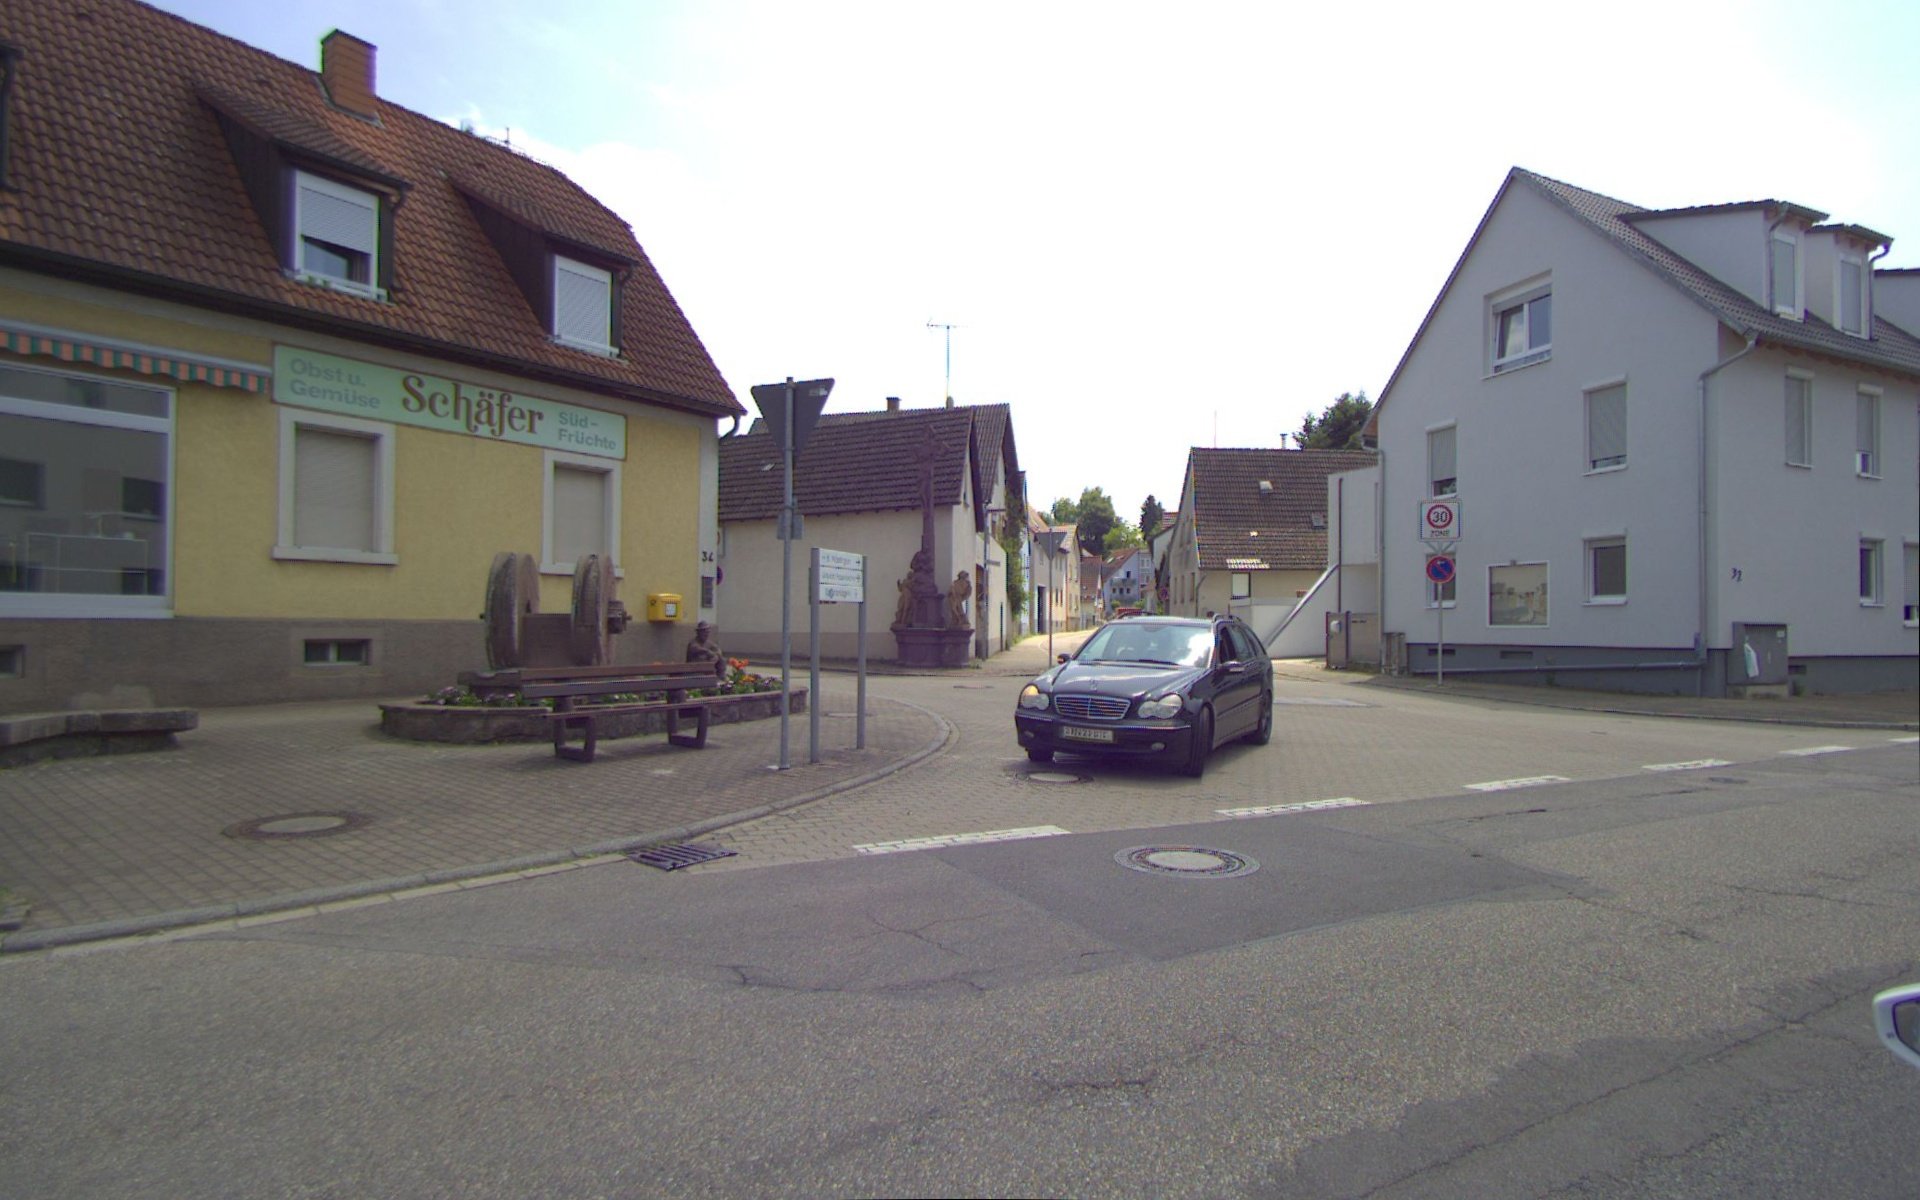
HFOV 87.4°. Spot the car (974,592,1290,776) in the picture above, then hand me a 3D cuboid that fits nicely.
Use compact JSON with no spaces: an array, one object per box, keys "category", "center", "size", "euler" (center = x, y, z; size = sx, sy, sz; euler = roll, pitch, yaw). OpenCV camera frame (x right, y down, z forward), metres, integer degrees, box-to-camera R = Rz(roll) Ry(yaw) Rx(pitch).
[{"category":"car","center":[2.040,0.769,10.444],"size":[1.781,1.430,4.630],"euler":[1,-2,29]}]

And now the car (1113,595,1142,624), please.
[{"category":"car","center":[10.014,0.593,60.342],"size":[1.369,1.656,3.478],"euler":[2,-2,4]}]

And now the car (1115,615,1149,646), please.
[{"category":"car","center":[9.313,1.667,54.528],"size":[1.461,1.550,3.478],"euler":[2,-2,4]}]
